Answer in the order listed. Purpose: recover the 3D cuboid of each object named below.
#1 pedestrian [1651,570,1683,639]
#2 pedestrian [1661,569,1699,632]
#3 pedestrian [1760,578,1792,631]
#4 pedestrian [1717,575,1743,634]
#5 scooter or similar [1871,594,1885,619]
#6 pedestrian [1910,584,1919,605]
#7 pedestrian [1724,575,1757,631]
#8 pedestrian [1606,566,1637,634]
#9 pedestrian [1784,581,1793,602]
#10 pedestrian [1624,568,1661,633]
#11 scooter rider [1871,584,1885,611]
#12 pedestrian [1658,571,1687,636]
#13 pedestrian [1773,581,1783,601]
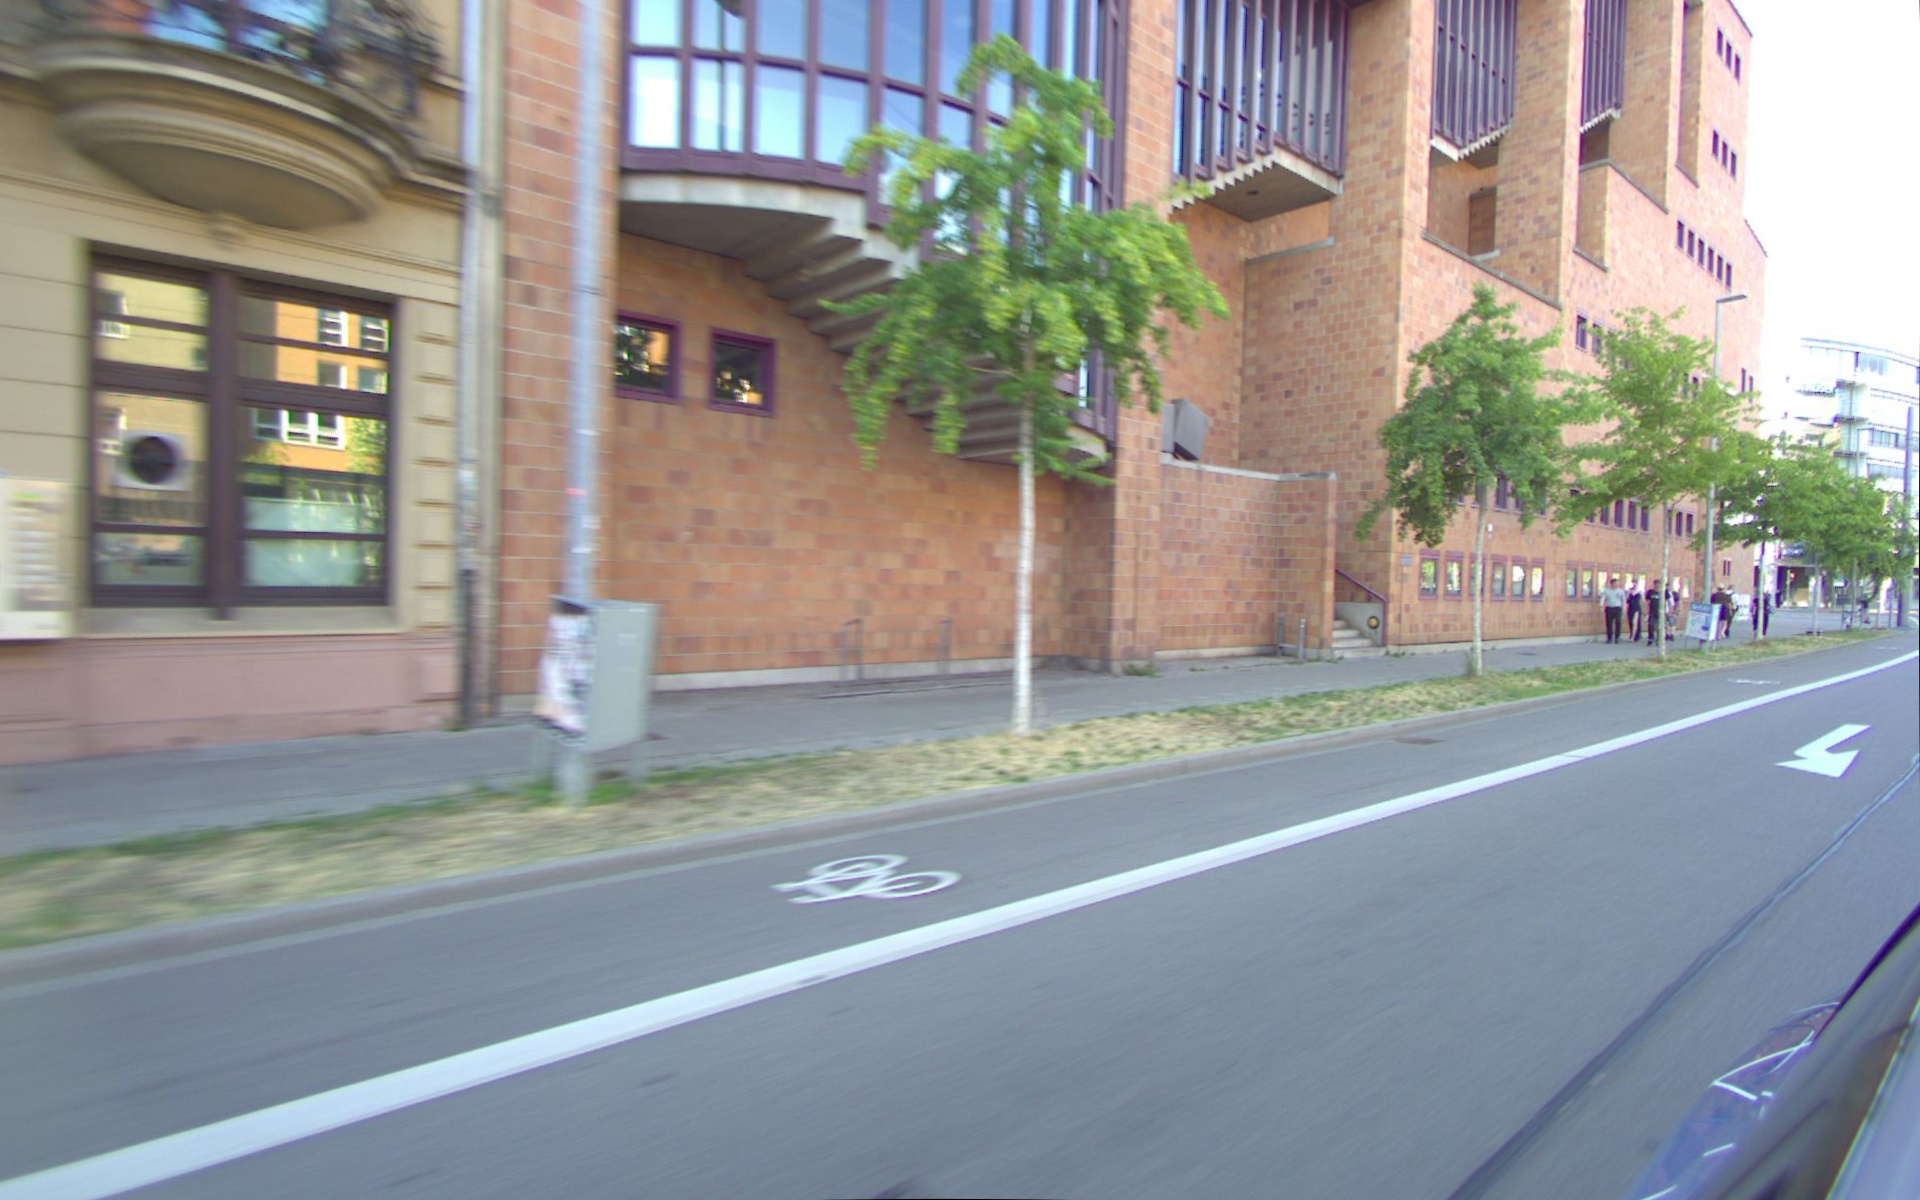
[{"bbox_3d":[18.525,0.098,26.539,0.532,1.778,0.461,2,2,23],"label":"pedestrian"},{"bbox_3d":[20.892,0.007,29.372,0.684,1.778,0.733,0,2,-43],"label":"pedestrian"},{"bbox_3d":[25.884,0.127,32.127,0.511,1.625,0.701,2,2,17],"label":"pedestrian"},{"bbox_3d":[23.392,0.129,30.751,0.533,1.778,0.417,2,2,30],"label":"pedestrian"},{"bbox_3d":[51.199,0.366,56.455,0.527,1.334,1.116,3,2,41],"label":"scooter or similar"},{"bbox_3d":[85.423,-0.466,90.193,0.686,1.865,0.966,0,2,-38],"label":"pedestrian"},{"bbox_3d":[25.030,0.086,32.471,0.564,1.734,0.639,2,2,12],"label":"pedestrian"},{"bbox_3d":[17.594,0.001,26.920,0.531,1.778,0.420,2,2,17],"label":"pedestrian"},{"bbox_3d":[75.041,-0.782,91.635,0.543,1.846,0.369,2,2,36],"label":"pedestrian"},{"bbox_3d":[18.790,0.007,27.861,0.681,1.778,0.539,1,2,-31],"label":"pedestrian"},{"bbox_3d":[51.214,-0.138,56.450,0.506,1.478,0.711,3,2,41],"label":"scooter rider"},{"bbox_3d":[19.958,0.094,28.369,0.533,1.778,0.688,2,2,30],"label":"pedestrian"},{"bbox_3d":[74.443,-0.819,92.082,0.586,1.846,0.537,2,2,36],"label":"pedestrian"}]
